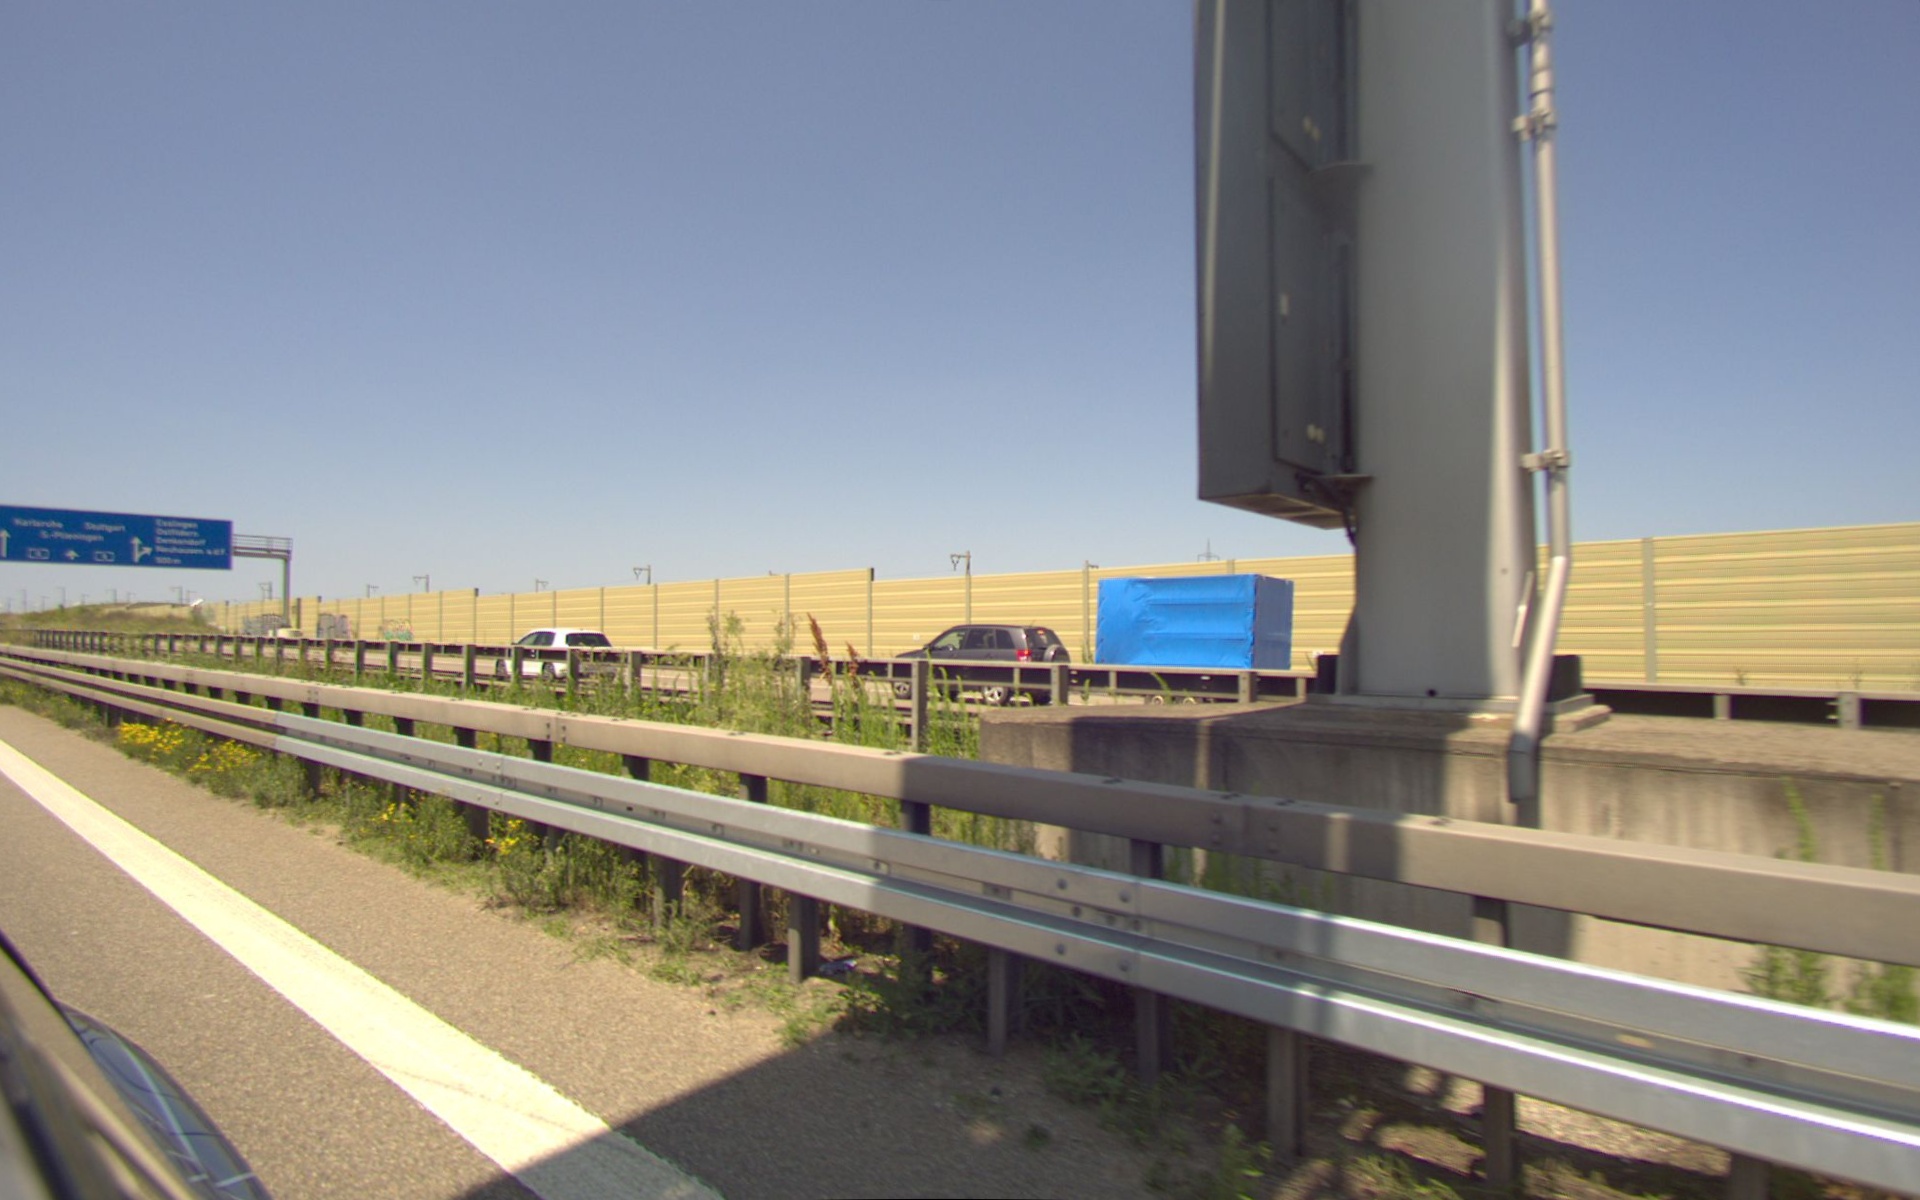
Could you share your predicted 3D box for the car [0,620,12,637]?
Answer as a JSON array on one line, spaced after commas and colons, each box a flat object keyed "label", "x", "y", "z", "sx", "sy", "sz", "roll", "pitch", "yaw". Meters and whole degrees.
[{"label": "car", "x": -117.586, "y": 3.523, "z": 123.777, "sx": 3.997, "sy": 2.029, "sz": 1.973, "roll": -1, "pitch": -2, "yaw": 41}]

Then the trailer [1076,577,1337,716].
[{"label": "trailer", "x": 4.440, "y": 0.756, "z": 18.527, "sx": 4.201, "sy": 2.255, "sz": 1.973, "roll": -1, "pitch": 0, "yaw": 40}]

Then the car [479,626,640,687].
[{"label": "car", "x": -10.580, "y": 1.463, "z": 26.608, "sx": 4.720, "sy": 1.442, "sz": 1.873, "roll": -1, "pitch": -4, "yaw": 40}]

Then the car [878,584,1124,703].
[{"label": "car", "x": 0.772, "y": 0.860, "z": 21.611, "sx": 5.094, "sy": 2.242, "sz": 1.973, "roll": -1, "pitch": 0, "yaw": 40}]
